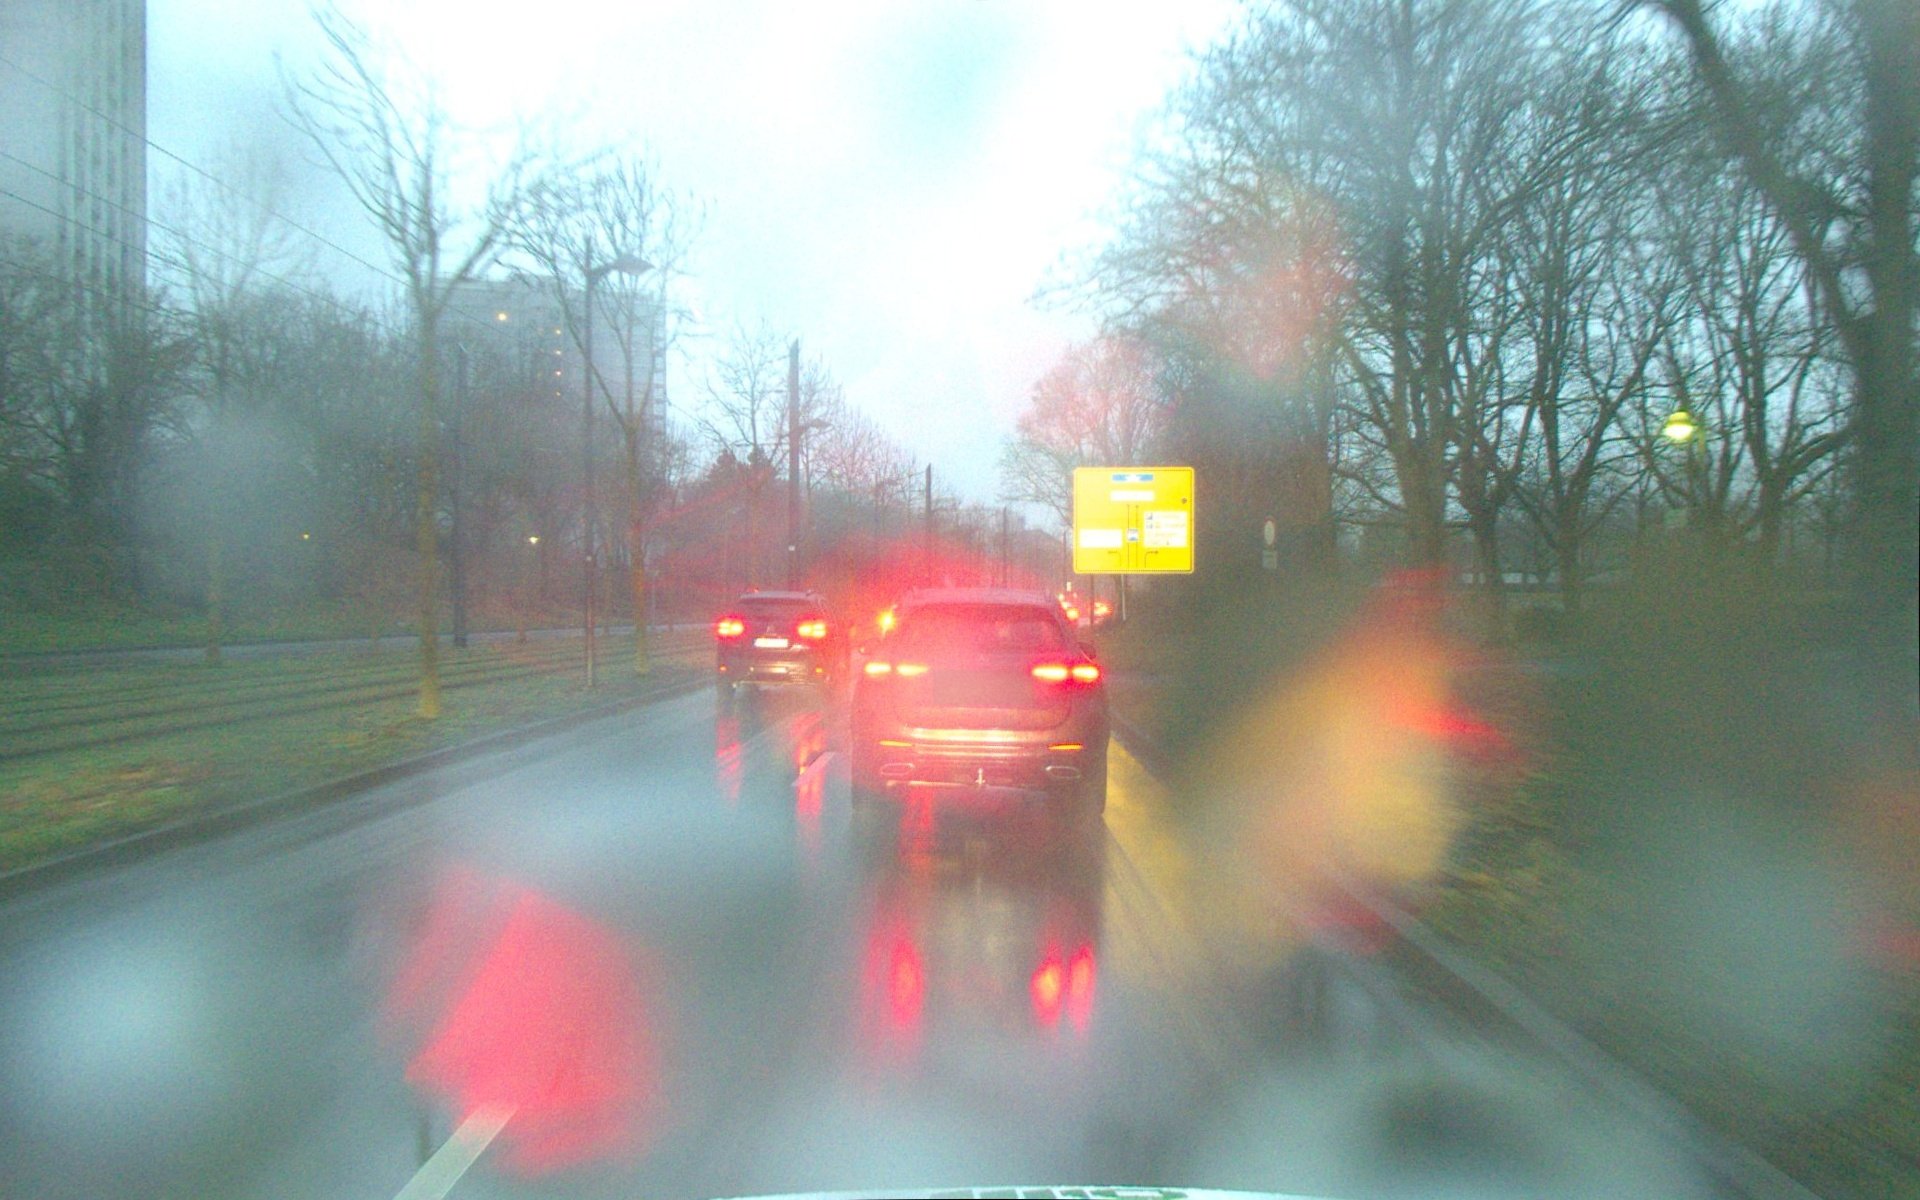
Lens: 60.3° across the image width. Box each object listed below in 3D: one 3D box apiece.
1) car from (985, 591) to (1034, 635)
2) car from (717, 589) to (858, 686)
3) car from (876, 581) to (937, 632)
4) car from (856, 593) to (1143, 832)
[{"bbox_3d":[1.821,0.467,61.688,1.674,1.585,3.995,0,0,-1],"label":"car"},{"bbox_3d":[-2.746,0.556,27.140,1.841,1.485,4.000,0,0,1],"label":"car"},{"bbox_3d":[-1.742,0.183,54.776,1.841,1.621,4.000,0,0,0],"label":"car"},{"bbox_3d":[0.152,0.768,13.341,1.958,1.612,3.997,1,0,-4],"label":"car"}]
